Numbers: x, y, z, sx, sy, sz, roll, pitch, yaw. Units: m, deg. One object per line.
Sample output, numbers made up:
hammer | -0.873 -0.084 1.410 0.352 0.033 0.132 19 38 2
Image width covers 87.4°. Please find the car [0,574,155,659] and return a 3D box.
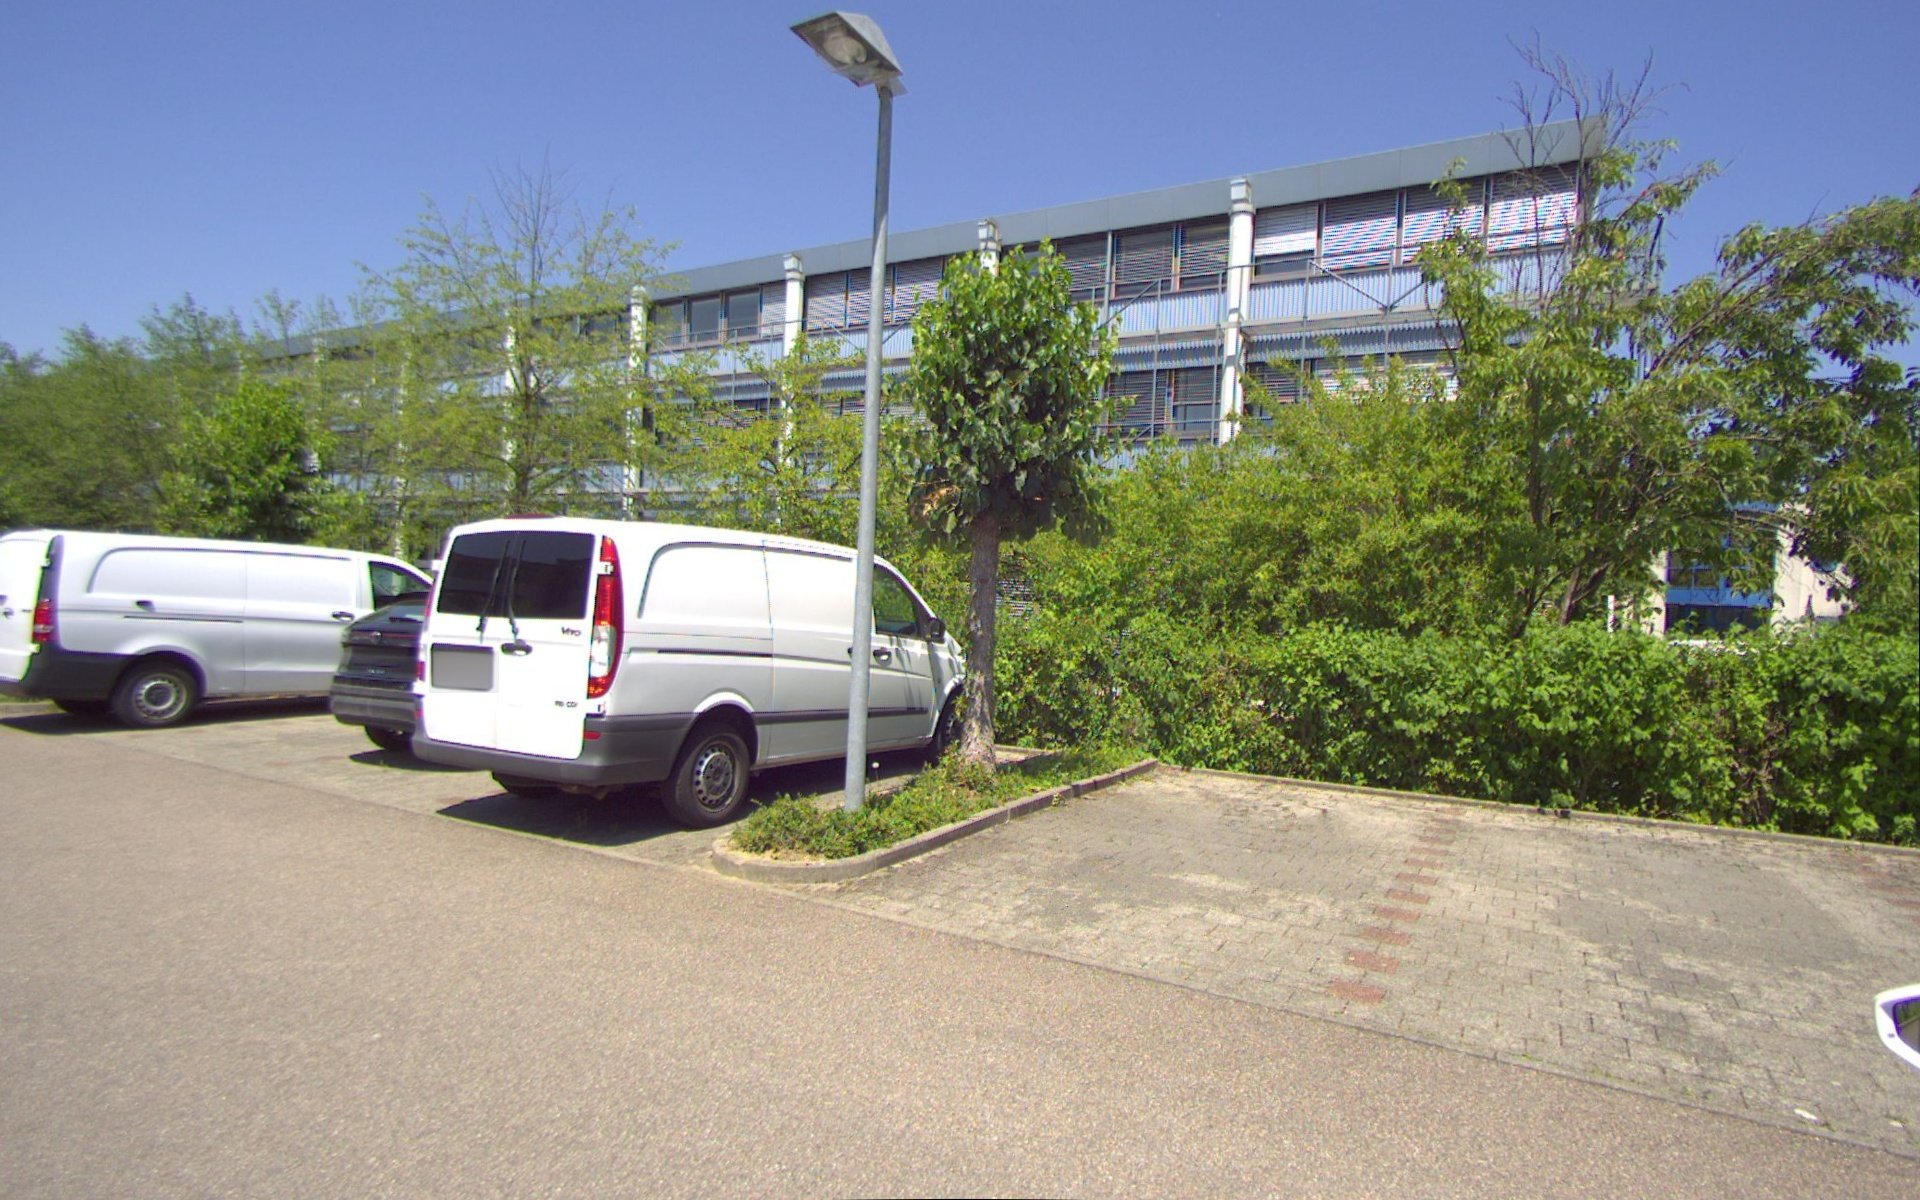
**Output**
car | -16.965 0.261 17.536 1.841 1.425 4.160 2 0 33

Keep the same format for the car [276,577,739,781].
car | -3.996 0.606 9.665 1.725 1.496 3.999 2 0 21

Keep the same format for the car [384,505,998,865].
car | -1.623 0.478 7.946 1.884 1.930 4.800 1 0 29

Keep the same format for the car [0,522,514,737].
car | -7.837 0.282 11.473 1.854 1.916 4.793 2 0 31
